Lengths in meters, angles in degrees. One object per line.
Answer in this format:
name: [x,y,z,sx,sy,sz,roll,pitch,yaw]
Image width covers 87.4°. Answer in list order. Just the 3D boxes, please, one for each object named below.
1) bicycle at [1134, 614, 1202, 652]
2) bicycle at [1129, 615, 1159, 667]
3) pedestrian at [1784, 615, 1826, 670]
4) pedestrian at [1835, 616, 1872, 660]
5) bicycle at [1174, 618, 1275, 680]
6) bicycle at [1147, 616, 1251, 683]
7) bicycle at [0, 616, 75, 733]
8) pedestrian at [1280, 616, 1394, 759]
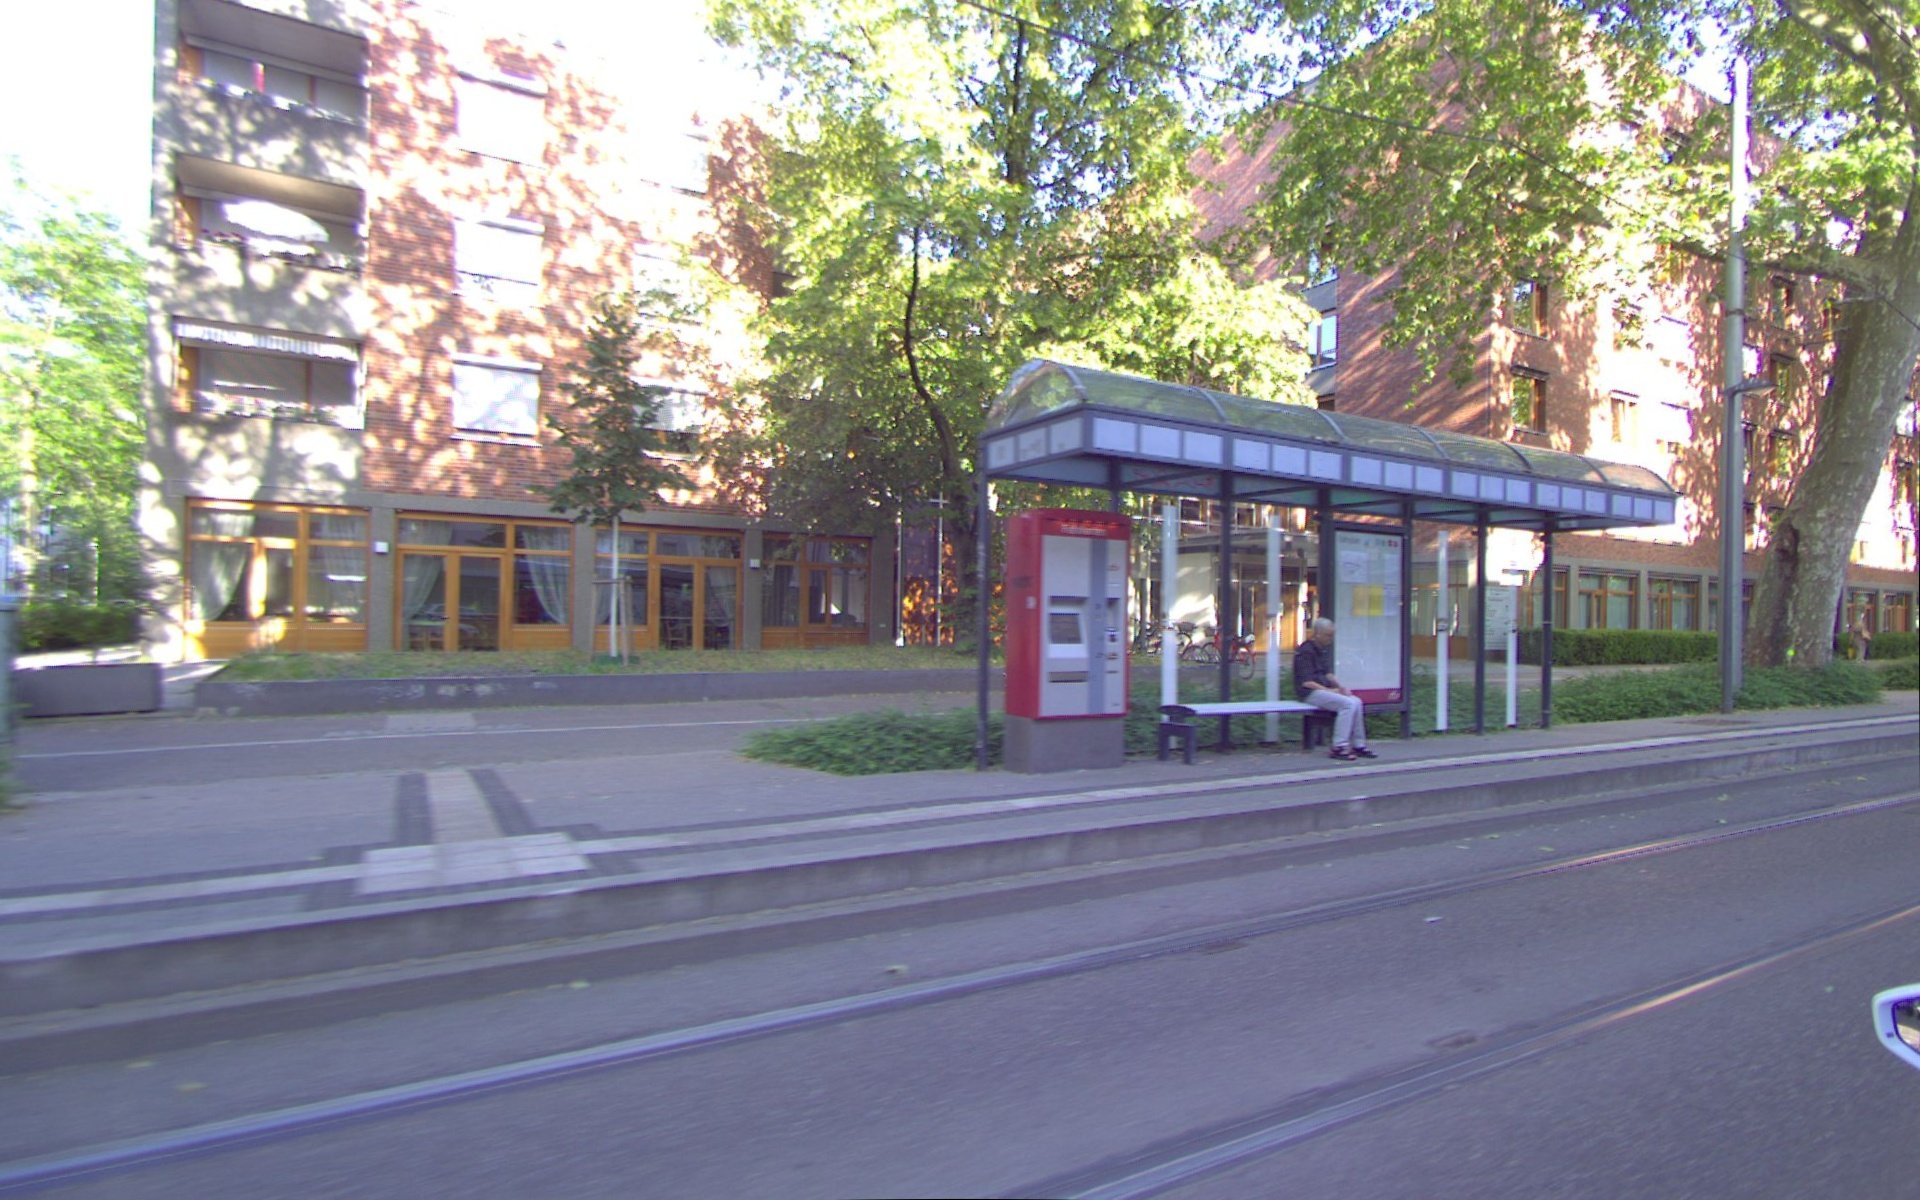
bicycle: [6.378,1.007,30.857,1.920,1.087,0.760,1,0,45]
bicycle: [4.612,0.994,25.099,0.668,1.235,1.501,2,0,12]
pedestrian: [26.338,1.319,31.301,0.850,1.694,0.732,2,0,-30]
pedestrian: [34.331,1.463,38.608,0.935,1.626,0.771,2,0,-30]
bicycle: [5.713,1.035,21.839,0.674,1.182,2.330,2,0,-29]
bicycle: [5.077,1.028,21.560,0.674,1.235,2.447,2,1,-29]
bicycle: [-10.334,0.712,9.692,2.568,1.125,0.778,2,0,-33]
pedestrian: [3.316,0.745,8.851,0.652,1.184,0.701,2,-2,-33]
